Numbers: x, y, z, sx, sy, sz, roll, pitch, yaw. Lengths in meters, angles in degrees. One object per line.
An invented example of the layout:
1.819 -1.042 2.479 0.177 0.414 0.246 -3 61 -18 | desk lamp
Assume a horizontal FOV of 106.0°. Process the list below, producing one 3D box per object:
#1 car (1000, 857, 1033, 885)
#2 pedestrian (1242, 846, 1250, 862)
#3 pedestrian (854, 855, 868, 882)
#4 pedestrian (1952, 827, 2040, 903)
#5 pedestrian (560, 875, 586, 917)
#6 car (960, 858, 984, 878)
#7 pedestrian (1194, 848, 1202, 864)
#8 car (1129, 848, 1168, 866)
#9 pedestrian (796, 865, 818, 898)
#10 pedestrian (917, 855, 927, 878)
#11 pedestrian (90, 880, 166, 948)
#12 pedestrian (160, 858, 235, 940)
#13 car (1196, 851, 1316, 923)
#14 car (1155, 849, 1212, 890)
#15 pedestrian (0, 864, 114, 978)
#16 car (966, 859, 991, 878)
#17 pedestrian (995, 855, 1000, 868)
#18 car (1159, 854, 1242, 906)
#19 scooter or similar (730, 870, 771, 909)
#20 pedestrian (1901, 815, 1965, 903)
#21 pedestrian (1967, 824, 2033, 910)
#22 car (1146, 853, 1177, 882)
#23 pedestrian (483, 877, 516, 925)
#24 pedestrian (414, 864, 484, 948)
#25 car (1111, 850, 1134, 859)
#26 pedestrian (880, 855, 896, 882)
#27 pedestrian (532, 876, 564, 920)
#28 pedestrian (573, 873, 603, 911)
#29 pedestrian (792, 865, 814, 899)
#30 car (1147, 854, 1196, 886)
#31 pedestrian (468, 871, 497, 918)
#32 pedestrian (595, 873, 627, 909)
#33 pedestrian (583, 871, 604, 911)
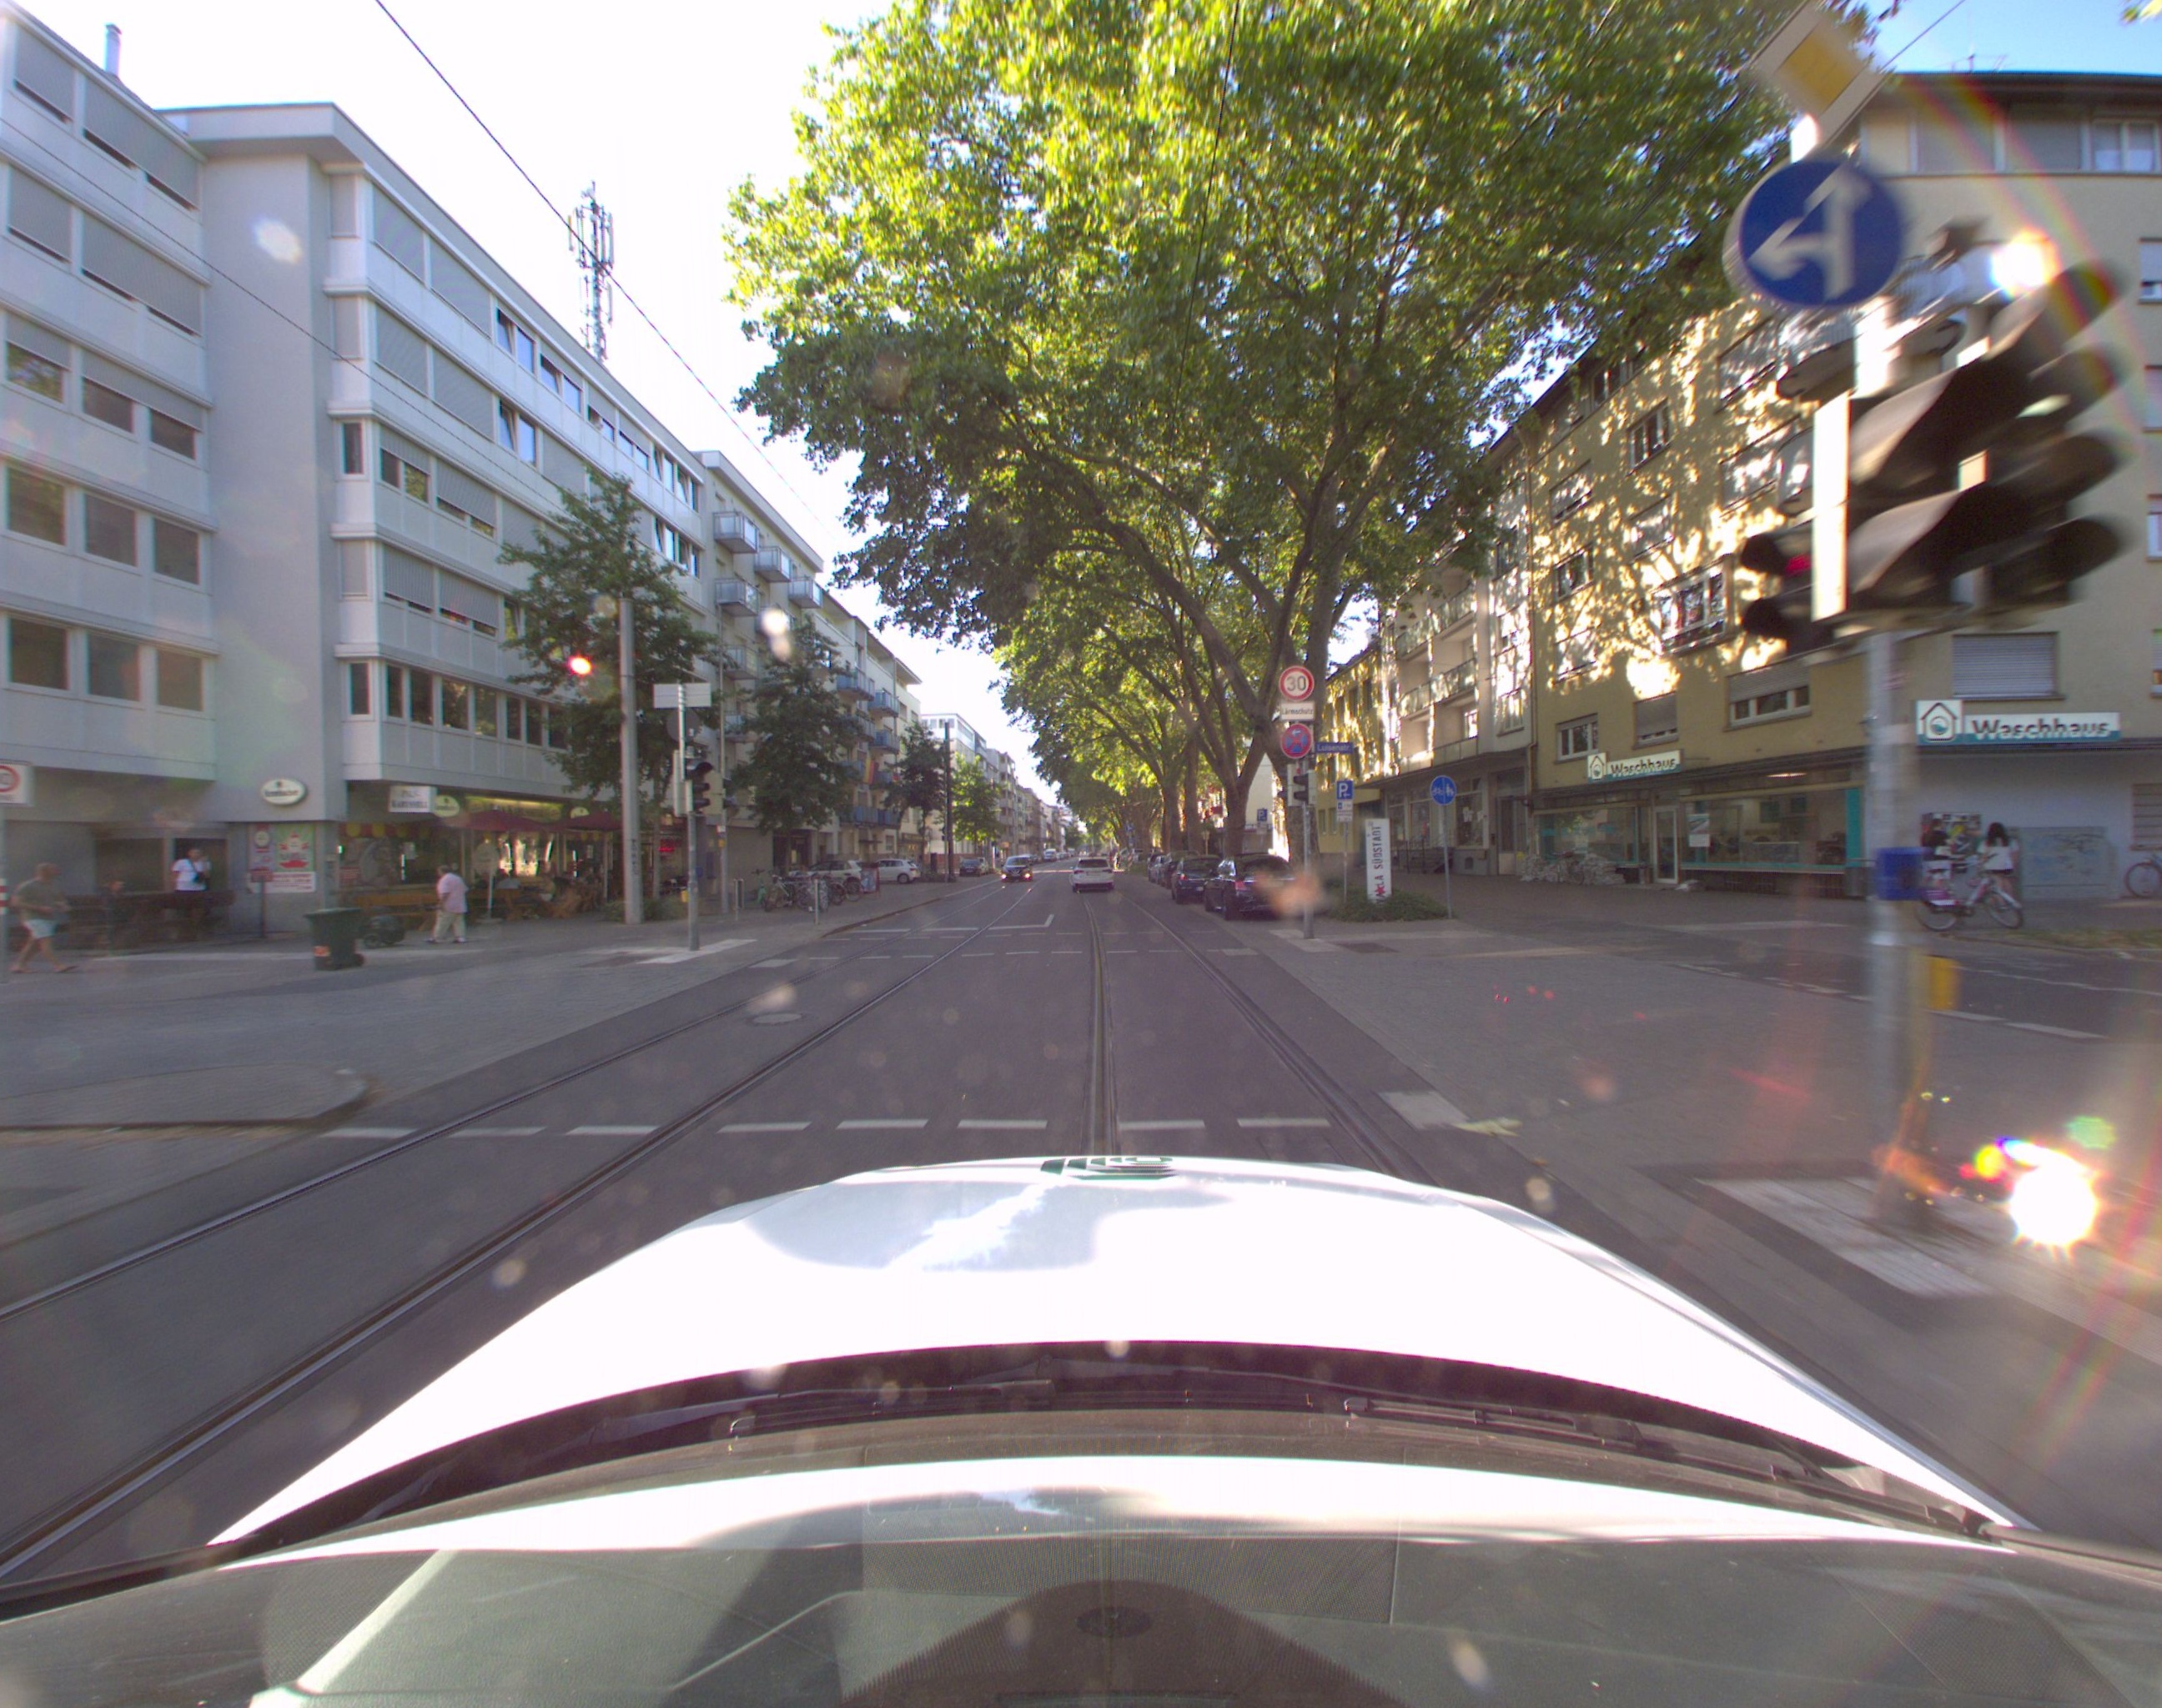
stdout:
-3.879 0.986 49.452 1.867 1.590 4.141 1 0 -4 | car
17.519 -0.033 86.318 0.743 1.644 0.666 -1 0 2 | pedestrian
-13.739 0.900 50.892 0.662 1.691 0.748 -1 0 -1 | pedestrian
17.787 0.213 15.846 0.838 1.415 0.767 -2 0 -7 | pedestrian
-15.223 1.242 24.392 0.604 1.198 0.685 -2 0 -34 | pedestrian
-8.529 1.100 63.925 1.711 1.464 3.992 2 -1 -6 | car
13.997 0.286 97.304 0.764 1.866 1.187 -2 0 -3 | pedestrian
8.345 0.385 101.016 4.531 2.076 2.000 -1 0 -2 | car
-11.347 1.129 33.768 0.713 1.297 0.908 -2 0 -13 | pedestrian
-12.360 0.967 63.341 0.662 1.691 0.748 -1 0 -1 | pedestrian
-18.532 1.137 15.852 0.752 1.241 0.761 -2 0 -33 | pedestrian
-18.310 0.918 16.882 0.741 1.659 0.772 -2 0 16 | pedestrian
4.042 0.699 19.660 1.759 1.462 5.011 -1 0 0 | car
4.512 0.681 36.464 1.852 1.603 4.781 -3 -1 0 | car
-15.742 1.002 12.529 0.756 1.671 0.767 -2 0 -4 | pedestrian
-8.631 1.181 68.712 1.709 1.464 4.372 2 -1 -3 | car
-11.835 1.027 115.581 0.661 1.826 0.965 -1 0 0 | pedestrian
3.708 0.774 26.065 1.860 1.437 4.223 -2 0 -2 | car
-10.273 1.106 25.346 1.076 1.176 0.498 0 -1 -1 | scooter or similar
16.828 0.092 16.097 0.704 1.682 0.656 -2 0 -26 | pedestrian
16.894 0.234 14.991 0.694 1.539 0.695 -2 0 42 | pedestrian
4.558 0.785 46.458 1.557 1.519 2.913 -3 -1 3 | car
-15.227 1.225 21.322 0.512 1.198 0.561 -2 0 -15 | pedestrian
-12.233 0.982 15.780 0.724 1.556 0.767 -2 0 -4 | pedestrian
11.604 0.097 226.854 6.112 2.282 2.528 -1 0 -1 | car
-11.880 0.887 50.126 0.761 1.691 0.794 -1 0 -1 | pedestrian
-15.055 1.234 23.008 0.509 1.198 0.564 -2 0 3 | pedestrian
-16.103 1.236 26.628 0.560 1.198 0.624 -2 0 0 | pedestrian
-11.107 1.116 32.524 0.713 1.297 0.744 -2 0 -13 | pedestrian
4.587 0.814 41.918 1.812 1.436 4.599 -3 -1 -2 | car
-15.927 1.066 21.680 0.566 1.198 0.508 -2 0 -34 | pedestrian
-16.118 1.252 27.915 0.670 1.198 0.655 -2 0 0 | pedestrian
-15.120 1.131 25.258 0.514 1.198 0.558 -2 0 -28 | pedestrian
